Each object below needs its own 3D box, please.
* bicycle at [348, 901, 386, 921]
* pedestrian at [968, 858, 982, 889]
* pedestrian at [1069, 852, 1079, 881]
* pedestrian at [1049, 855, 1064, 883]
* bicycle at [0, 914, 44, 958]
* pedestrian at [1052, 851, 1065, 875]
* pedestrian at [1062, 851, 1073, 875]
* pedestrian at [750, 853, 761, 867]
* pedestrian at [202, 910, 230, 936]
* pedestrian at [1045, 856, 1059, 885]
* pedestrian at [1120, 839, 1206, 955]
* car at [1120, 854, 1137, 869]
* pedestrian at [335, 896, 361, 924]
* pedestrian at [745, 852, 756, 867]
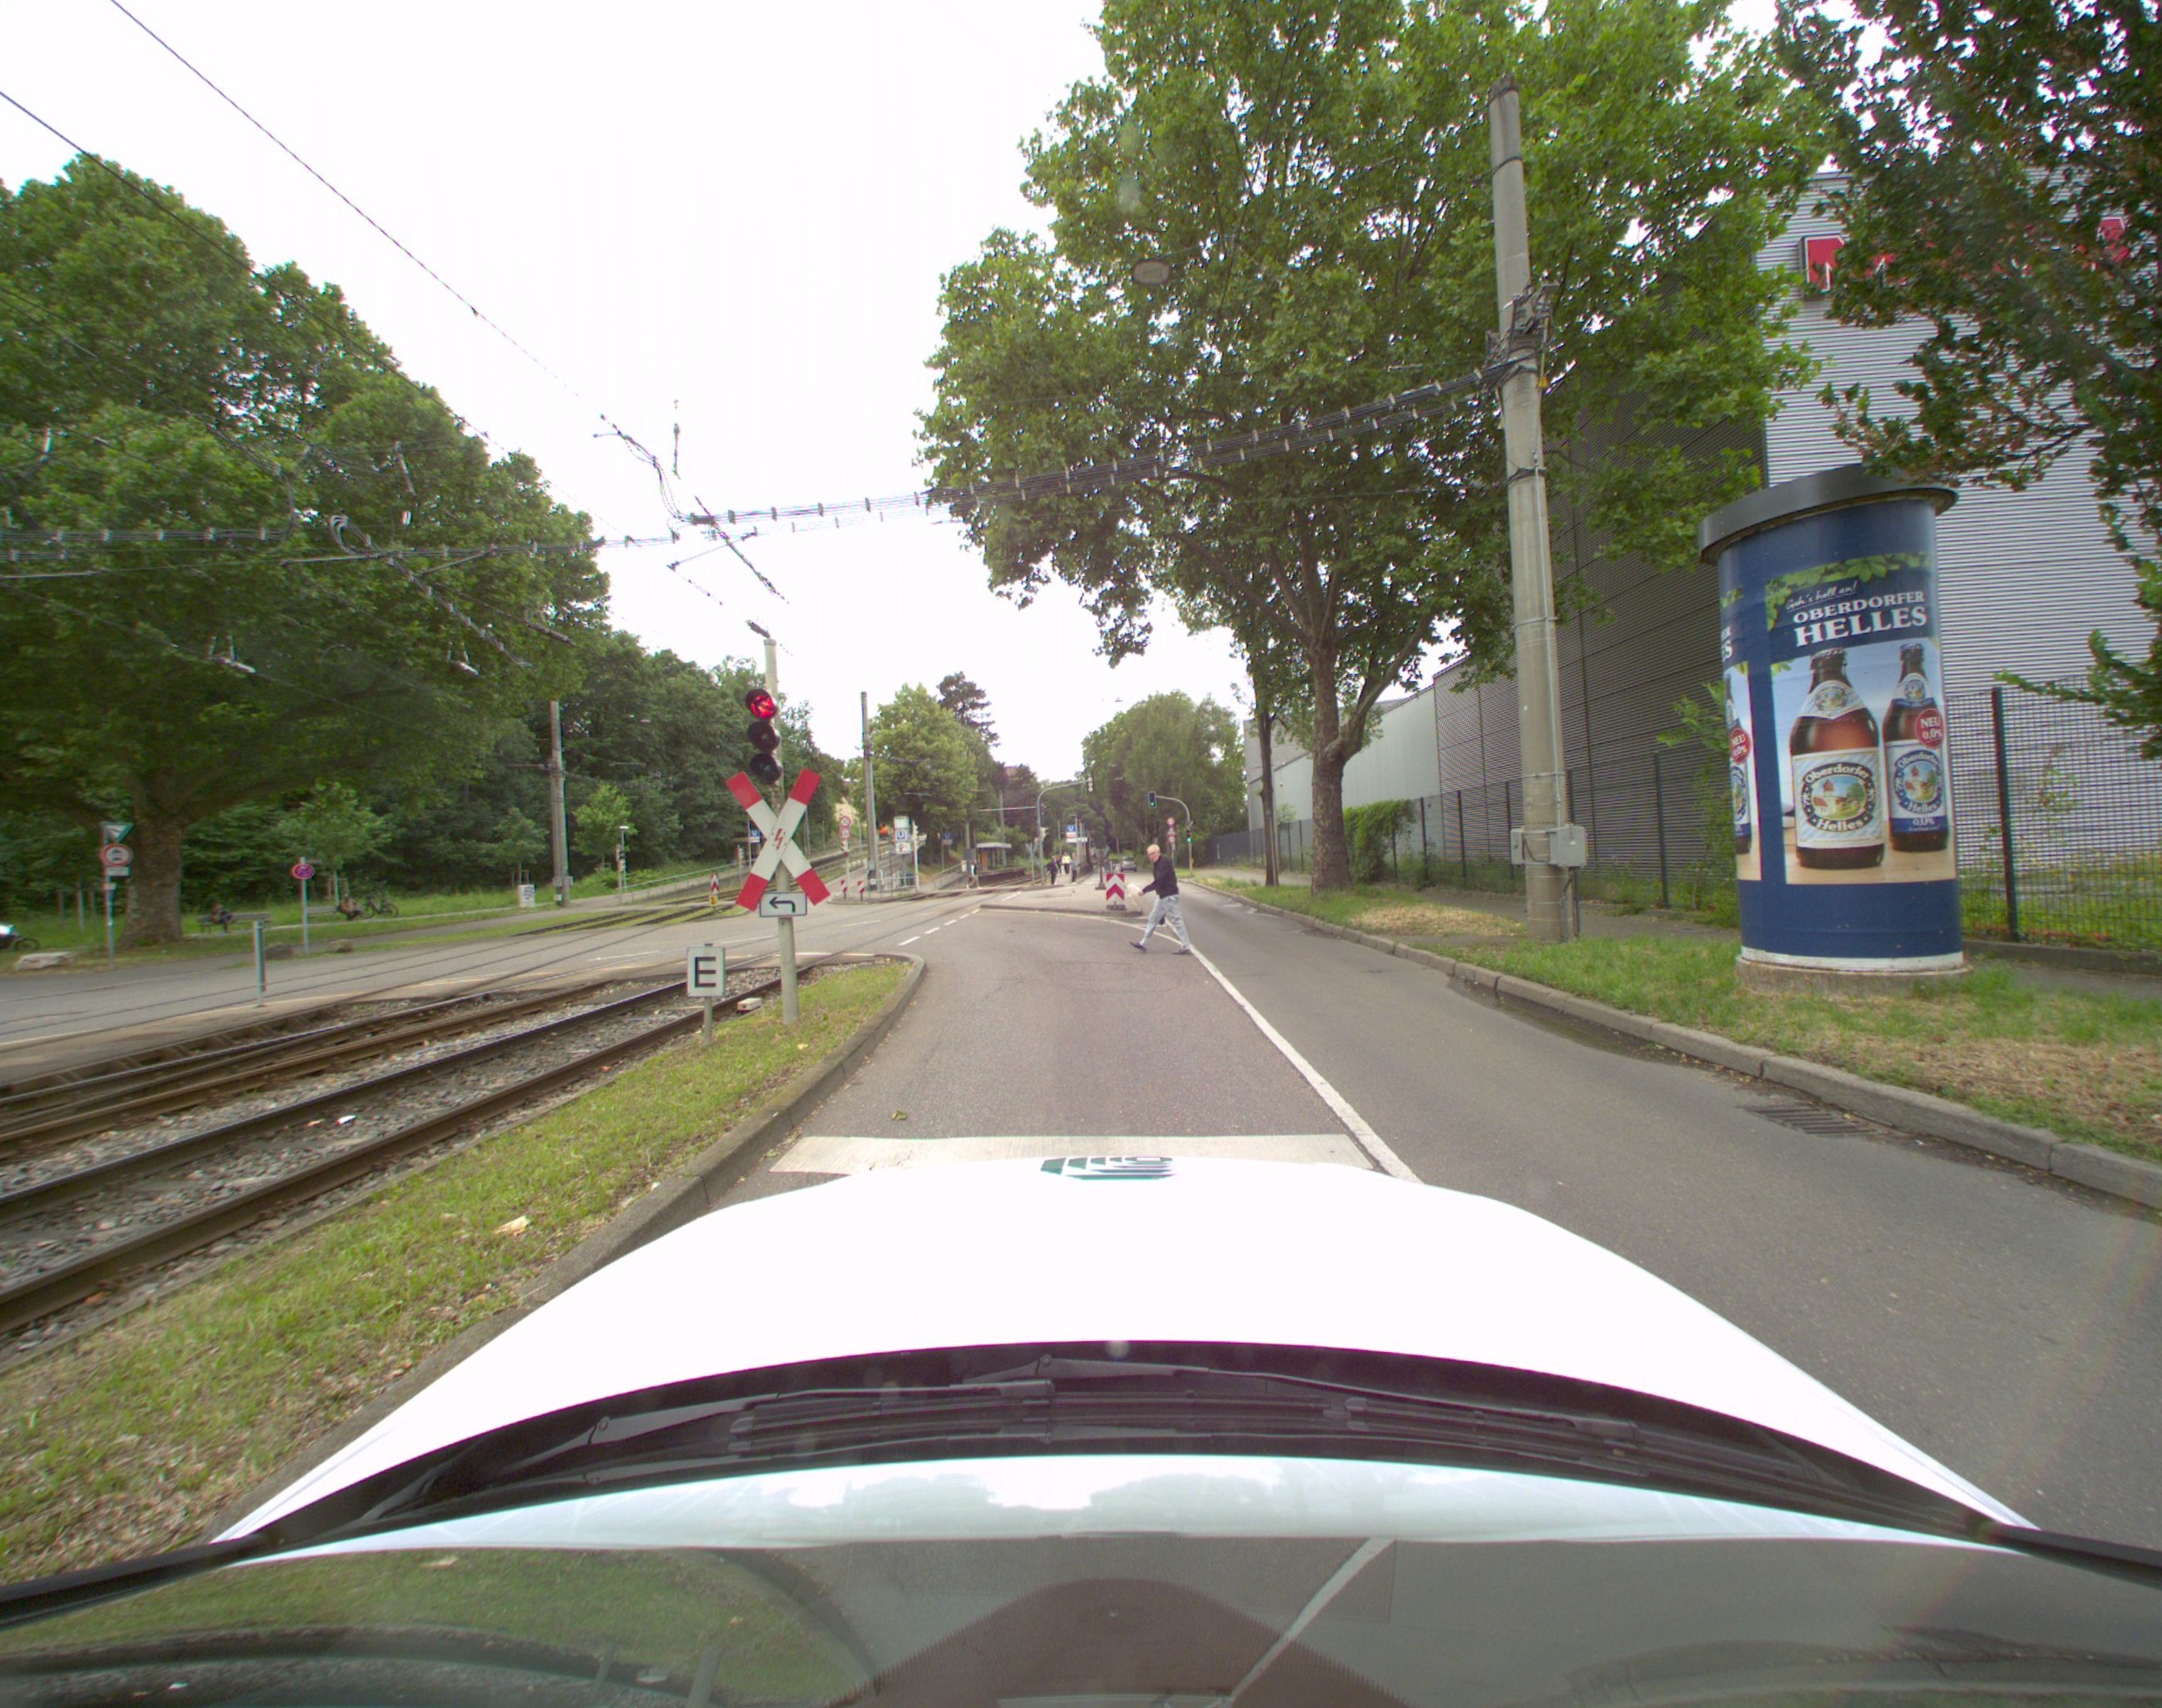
[{"bbox_3d":[-33.494,2.653,38.205,1.726,0.885,0.625,-1,-1,21],"label":"bicycle"},{"bbox_3d":[-6.253,1.137,47.874,0.802,1.821,0.668,0,-1,-10],"label":"pedestrian"},{"bbox_3d":[-0.452,0.775,50.950,0.547,1.758,0.739,0,-1,6],"label":"pedestrian"},{"bbox_3d":[-1.503,0.927,49.992,0.674,1.665,0.741,-1,-1,17],"label":"pedestrian"},{"bbox_3d":[-36.162,2.787,26.230,0.726,1.289,3.368,2,4,38],"label":"bicycle"},{"bbox_3d":[-1.542,0.646,56.410,0.737,1.665,0.677,0,-1,-20],"label":"pedestrian"},{"bbox_3d":[-0.945,0.640,57.152,0.735,1.665,0.679,0,-1,-9],"label":"pedestrian"},{"bbox_3d":[-30.705,0.562,76.872,0.771,1.326,0.785,0,-1,-6],"label":"pedestrian"},{"bbox_3d":[-35.316,2.801,33.246,0.526,0.989,0.623,-1,-1,17],"label":"pedestrian"},{"bbox_3d":[-1.681,0.951,47.214,0.732,1.665,0.682,0,-1,3],"label":"pedestrian"},{"bbox_3d":[1.304,0.657,13.038,1.121,1.760,0.807,0,-1,-22],"label":"pedestrian"},{"bbox_3d":[5.164,0.840,88.278,1.737,1.599,4.001,0,-1,2],"label":"car"},{"bbox_3d":[-33.548,2.535,37.258,0.574,1.235,0.676,-1,-1,15],"label":"pedestrian"},{"bbox_3d":[-30.746,0.531,75.754,0.771,1.326,0.785,0,2,-6],"label":"pedestrian"}]
